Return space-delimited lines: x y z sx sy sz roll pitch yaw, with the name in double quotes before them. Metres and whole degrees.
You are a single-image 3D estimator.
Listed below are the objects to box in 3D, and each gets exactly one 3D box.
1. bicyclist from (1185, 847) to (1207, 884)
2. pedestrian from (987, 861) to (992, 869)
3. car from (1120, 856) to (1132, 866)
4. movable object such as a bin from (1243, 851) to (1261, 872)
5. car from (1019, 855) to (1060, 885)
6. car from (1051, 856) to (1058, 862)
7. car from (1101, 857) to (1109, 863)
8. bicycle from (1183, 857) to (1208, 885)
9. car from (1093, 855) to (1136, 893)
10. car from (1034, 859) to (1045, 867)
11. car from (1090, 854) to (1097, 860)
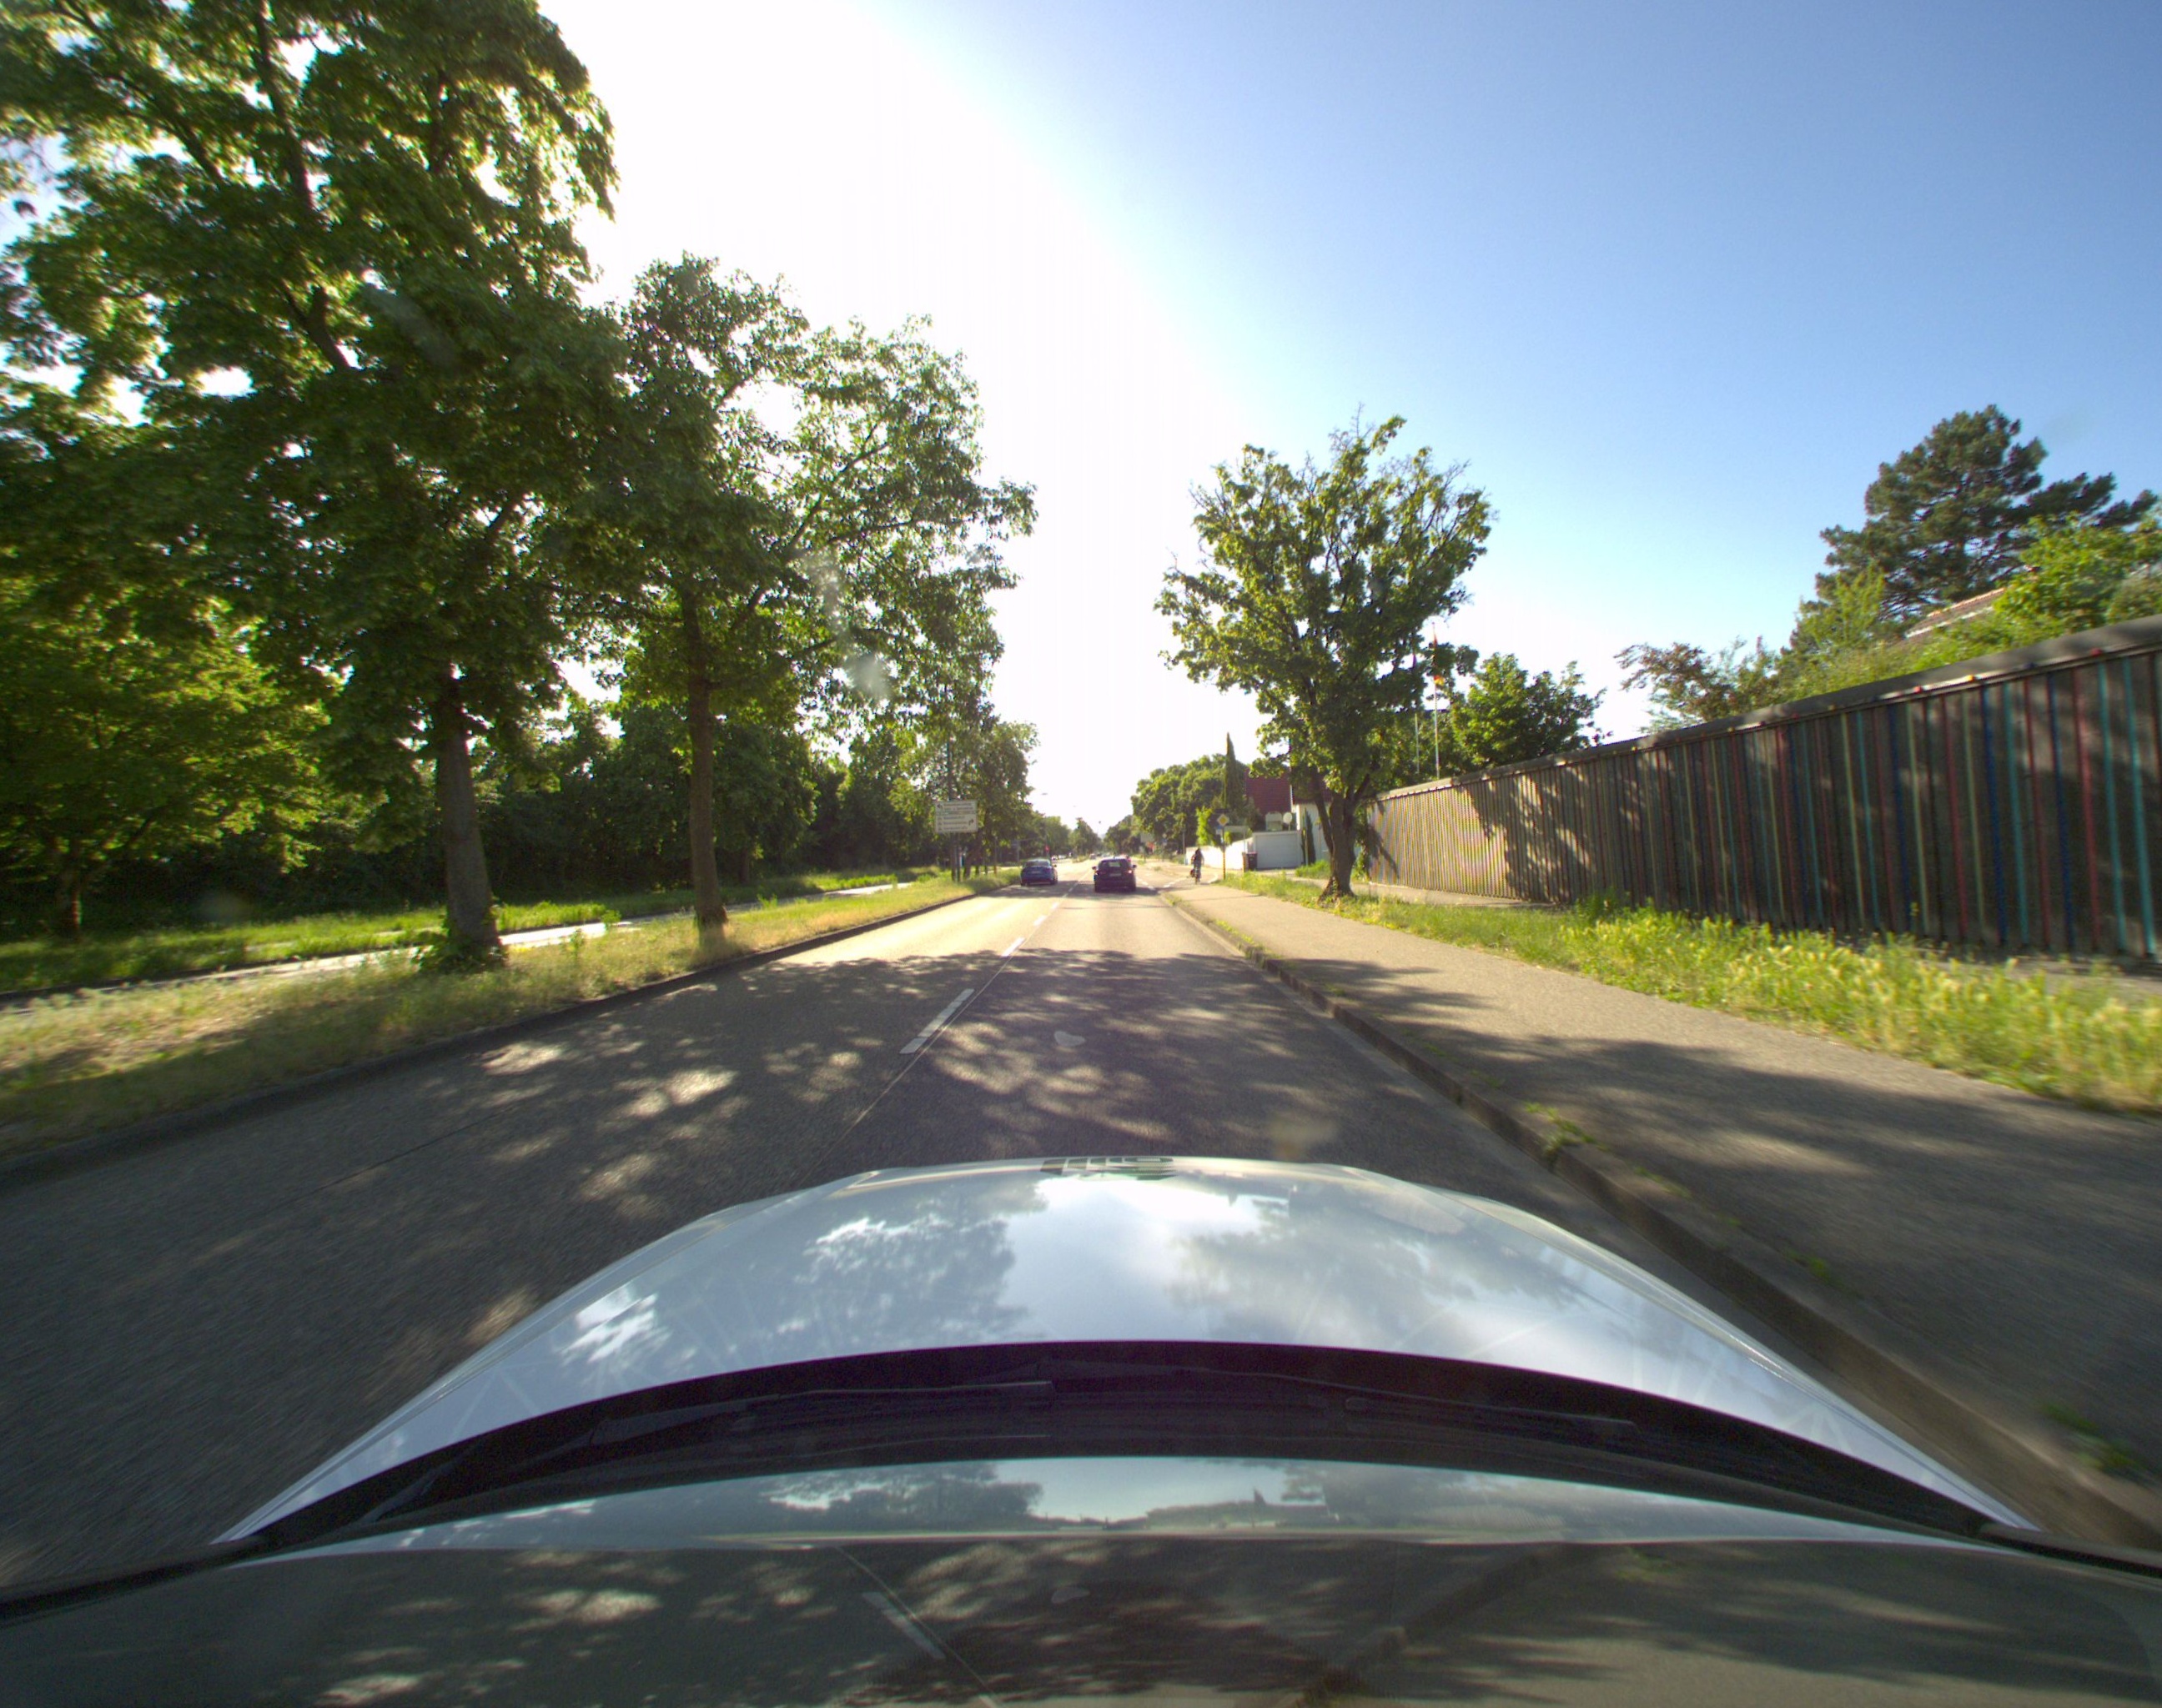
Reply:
"bicyclist" 5.320 0.518 37.650 0.624 1.633 0.987 -5 0 22
"pedestrian" -19.501 2.328 173.479 0.842 1.835 0.550 -2 0 3
"car" 7.018 1.033 126.739 1.724 1.459 3.845 -2 0 5
"movable object such as a bin" 10.751 0.470 51.287 0.996 1.205 1.065 -4 -2 9
"car" -2.274 0.898 45.676 1.881 1.552 4.001 -2 -1 2
"car" -8.280 1.556 253.342 1.857 1.684 4.262 -2 0 2
"car" 5.762 1.432 194.934 1.726 1.585 3.840 0 -1 1
"bicycle" 5.318 0.761 37.677 0.569 1.155 2.152 -5 0 22
"car" 1.434 0.859 35.216 1.749 1.509 3.809 -1 -1 2
"car" -9.477 2.081 186.351 1.904 1.703 4.409 0 -1 2
"car" 3.453 0.737 222.645 1.818 1.615 3.841 0 1 1
